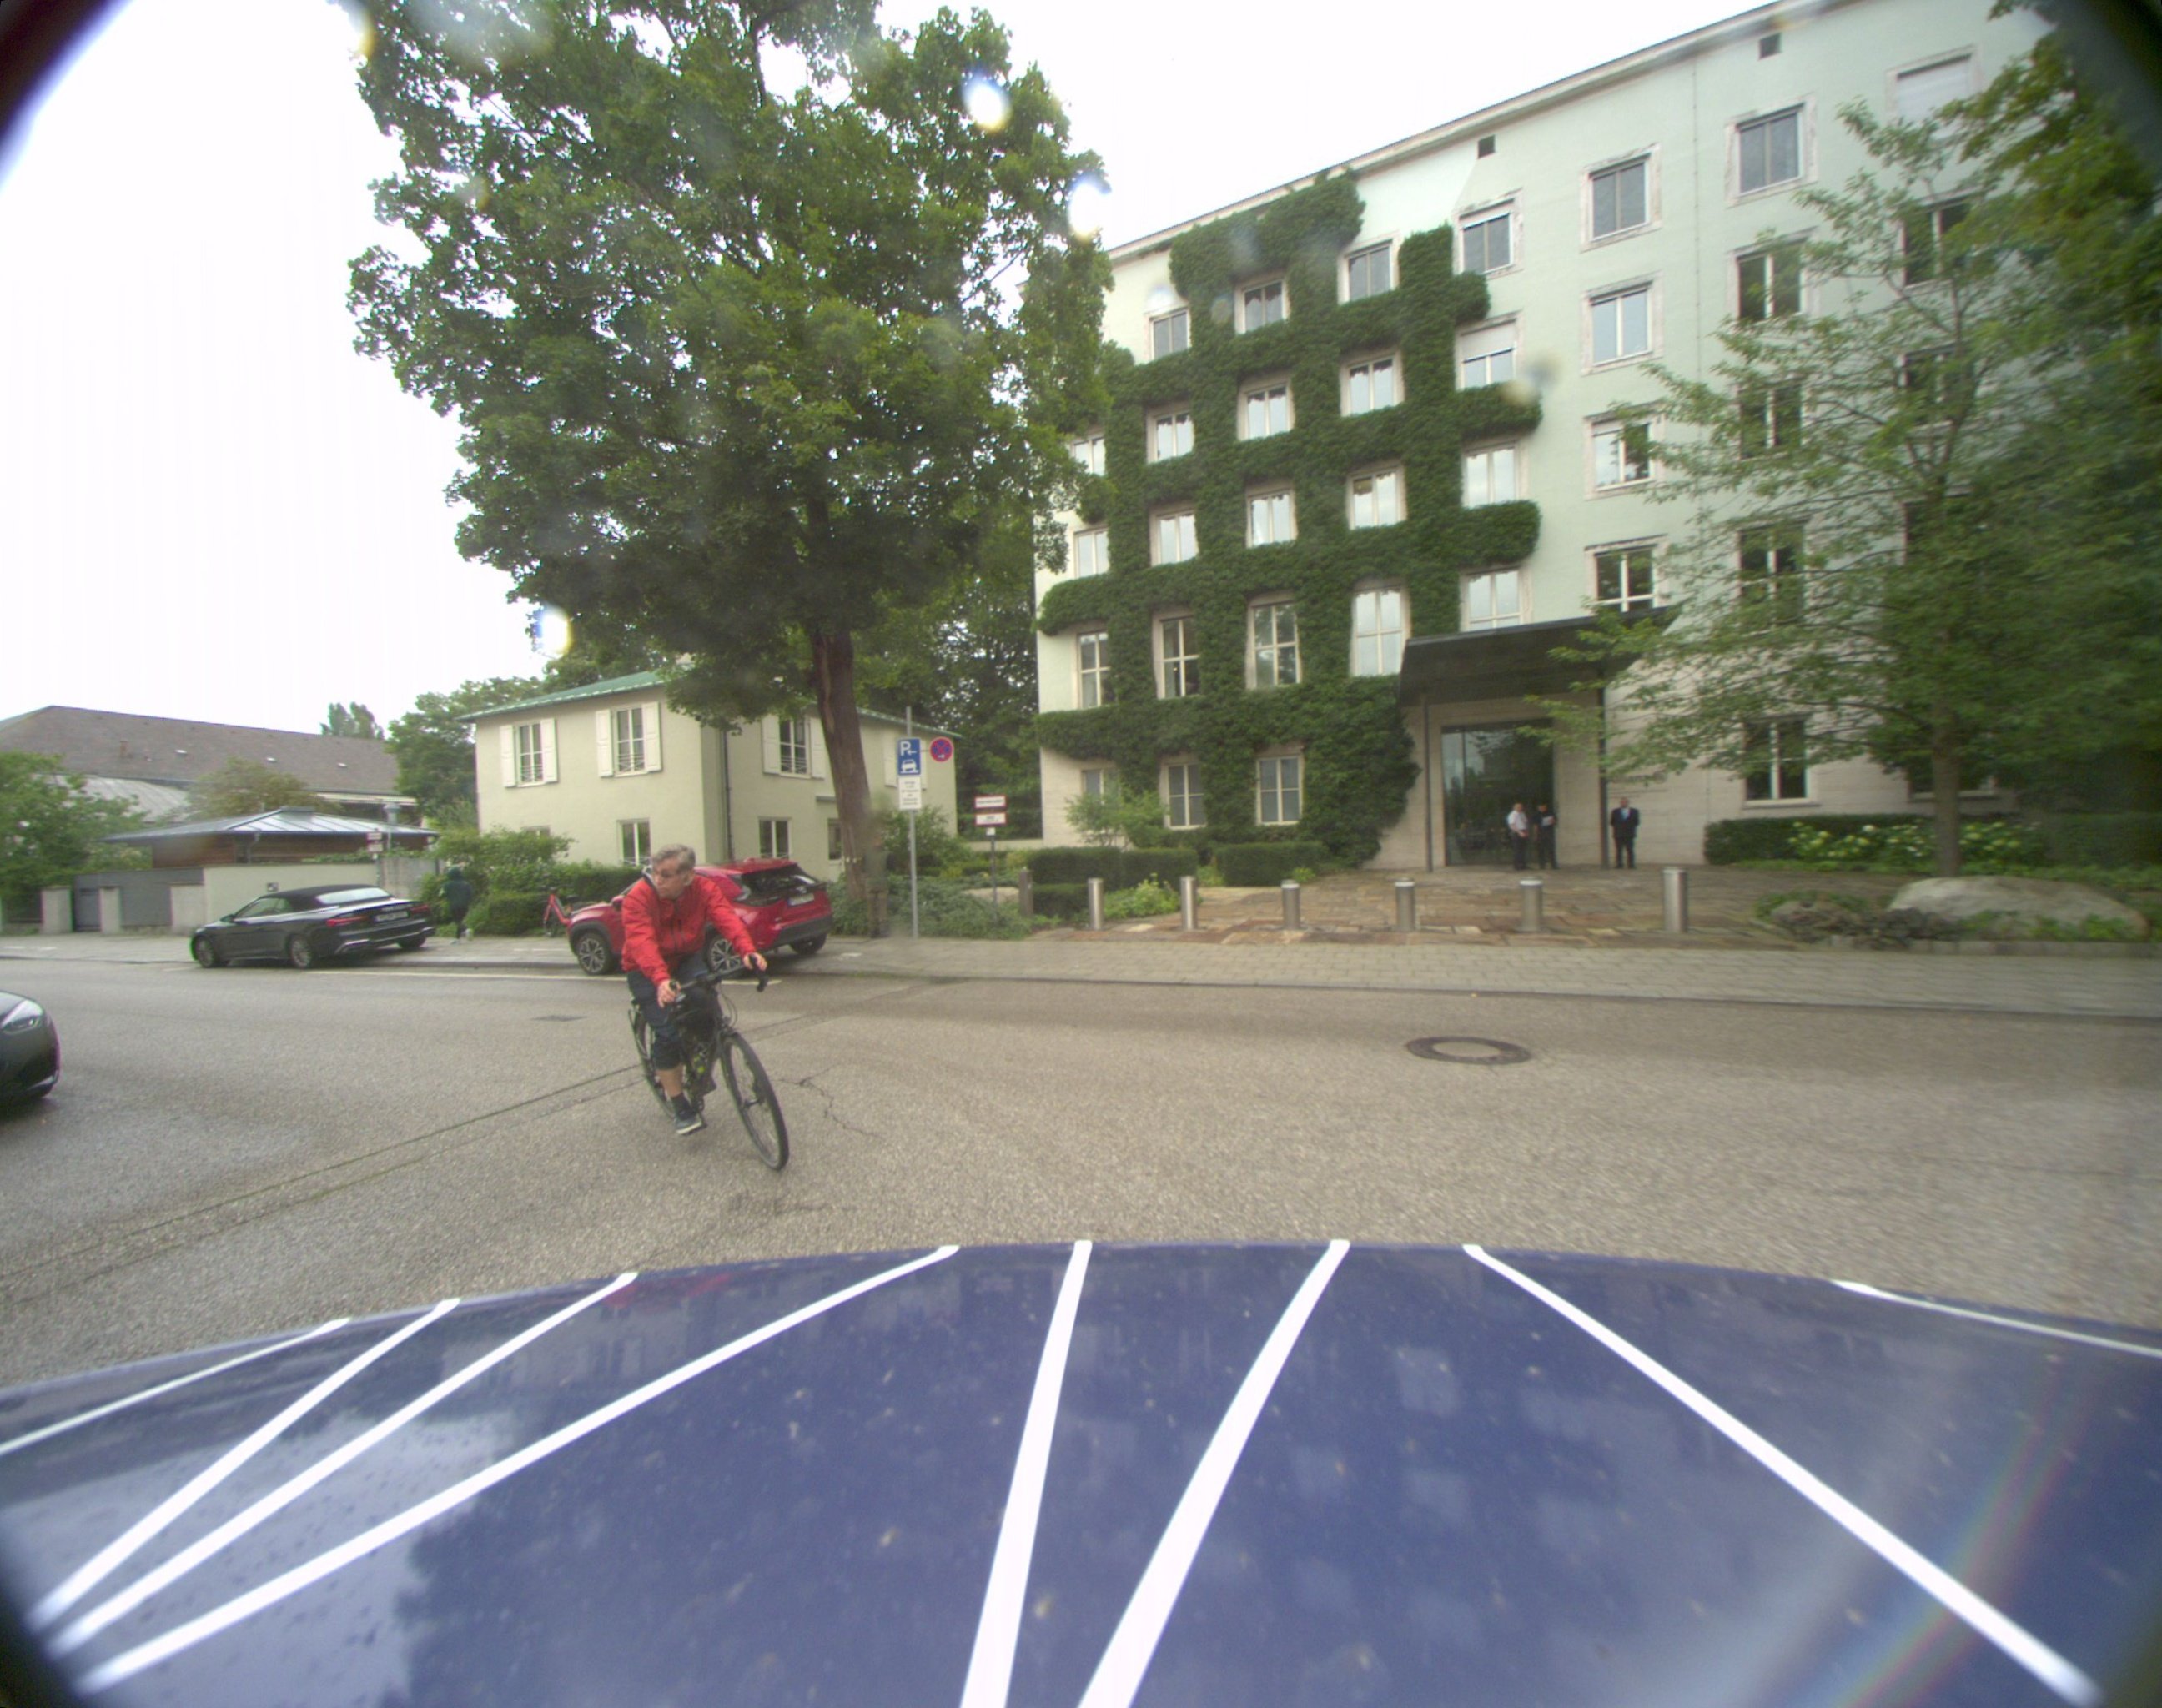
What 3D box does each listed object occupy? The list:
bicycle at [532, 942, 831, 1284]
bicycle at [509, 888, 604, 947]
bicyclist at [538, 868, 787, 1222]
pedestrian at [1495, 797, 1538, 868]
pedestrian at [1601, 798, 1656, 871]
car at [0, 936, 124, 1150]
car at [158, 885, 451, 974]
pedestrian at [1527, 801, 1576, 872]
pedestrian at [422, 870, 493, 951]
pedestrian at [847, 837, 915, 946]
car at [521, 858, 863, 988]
[{"bbox_3d":[-2.146,1.135,3.925,2.005,1.135,0.675,0,3,43],"label":"bicycle"},{"bbox_3d":[-10.729,1.282,15.539,2.042,1.124,0.652,-2,1,27],"label":"bicycle"},{"bbox_3d":[-2.132,0.836,3.860,0.978,1.475,0.758,0,3,43],"label":"bicyclist"},{"bbox_3d":[11.061,-0.534,19.321,0.751,1.743,0.902,-2,1,19],"label":"pedestrian"},{"bbox_3d":[13.333,-0.464,18.539,0.899,1.743,0.753,-1,2,18],"label":"pedestrian"},{"bbox_3d":[-9.227,1.297,5.166,4.585,1.311,2.010,-2,-2,20],"label":"car"},{"bbox_3d":[-14.942,1.424,14.655,4.914,1.394,1.815,-2,2,17],"label":"car"},{"bbox_3d":[11.923,-0.440,19.287,0.899,1.743,0.753,-1,2,18],"label":"pedestrian"},{"bbox_3d":[-12.603,1.134,15.370,0.751,1.540,0.716,-2,3,17],"label":"pedestrian"},{"bbox_3d":[-3.515,0.642,13.375,0.795,1.842,0.715,-1,3,21],"label":"pedestrian"},{"bbox_3d":[-5.800,0.960,11.398,4.518,1.581,1.895,-2,2,20],"label":"car"}]
